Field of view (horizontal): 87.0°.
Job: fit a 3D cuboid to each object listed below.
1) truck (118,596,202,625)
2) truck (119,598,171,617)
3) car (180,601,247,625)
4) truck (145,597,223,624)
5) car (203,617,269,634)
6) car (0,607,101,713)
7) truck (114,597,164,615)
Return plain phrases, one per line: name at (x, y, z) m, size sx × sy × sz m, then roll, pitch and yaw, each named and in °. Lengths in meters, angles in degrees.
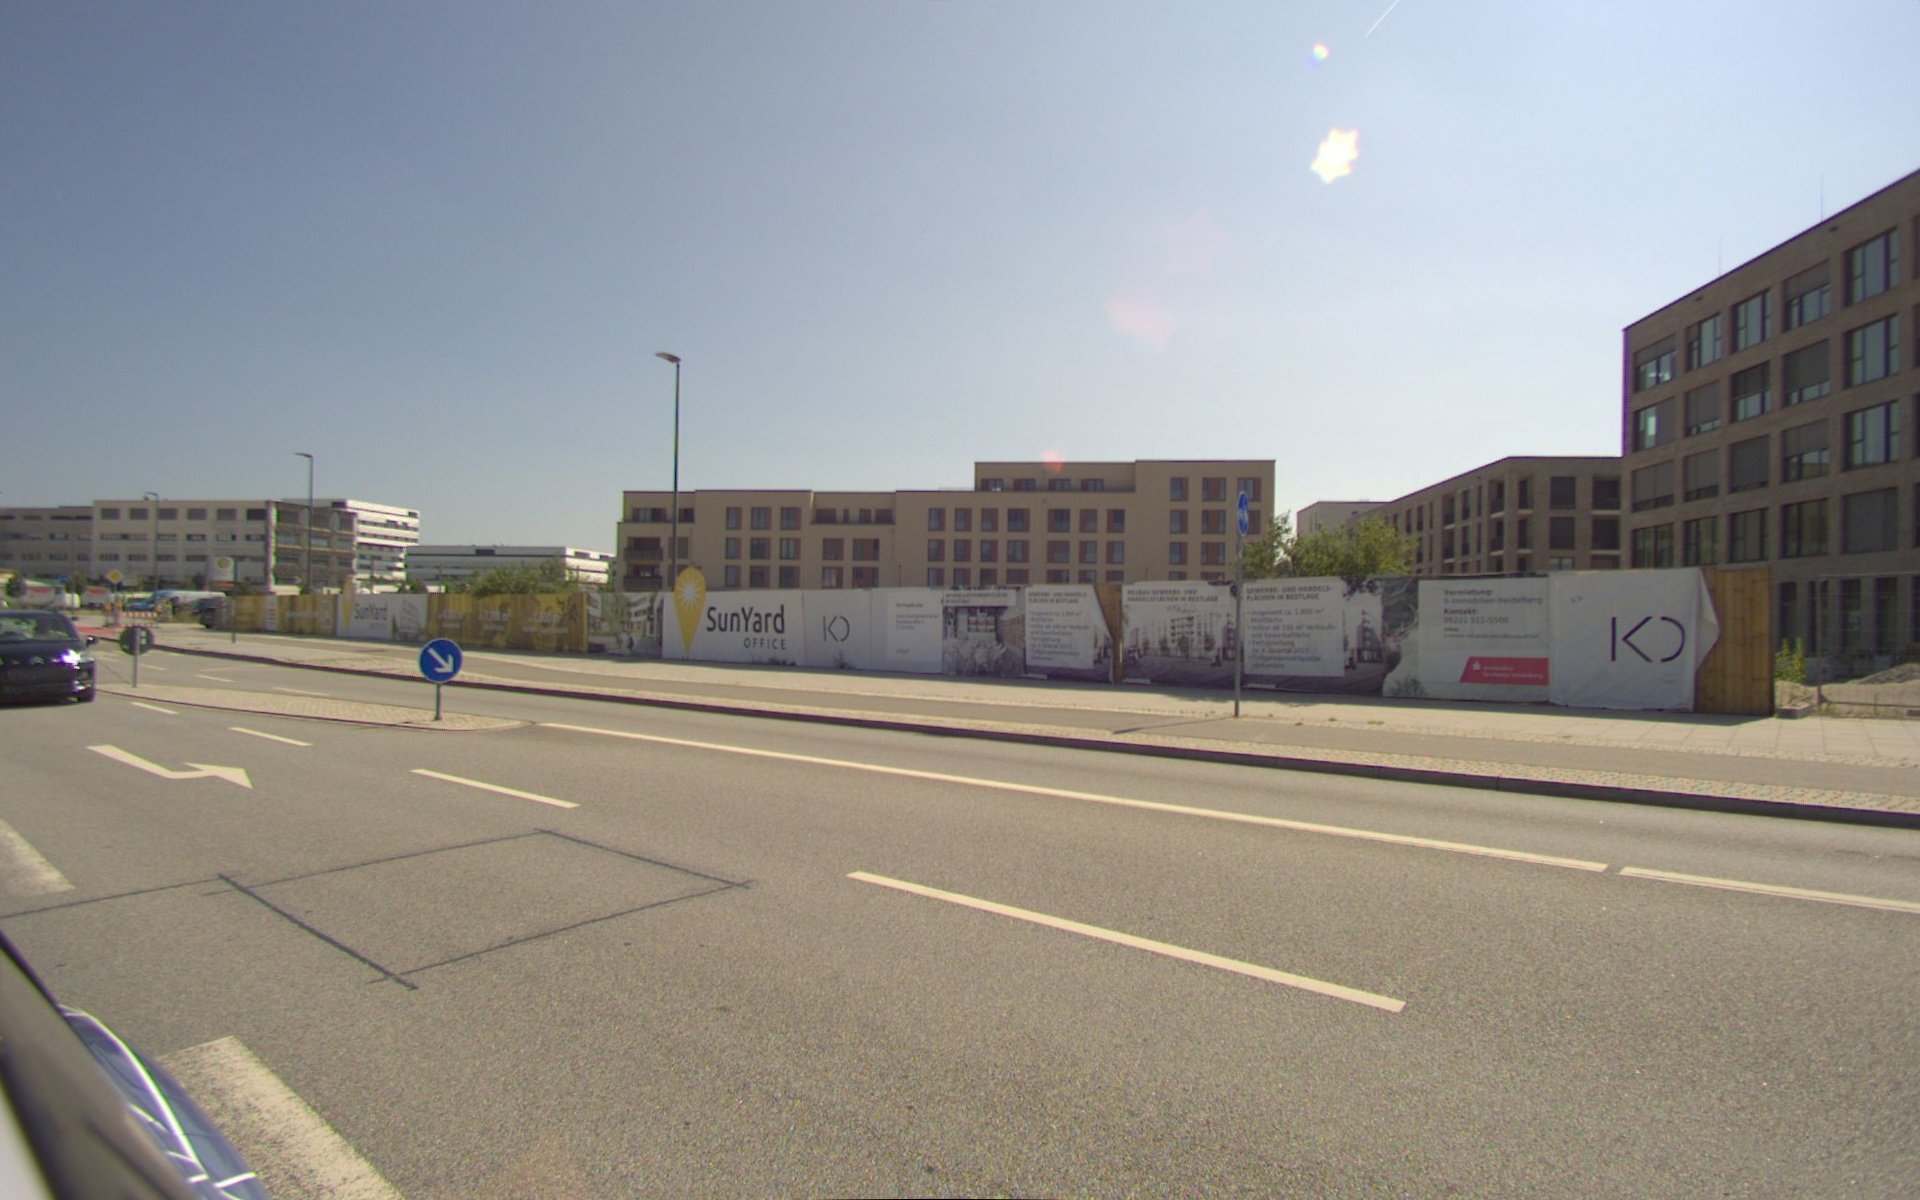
truck at (-71.944, 0.874, 91.090) m, size 1.996 × 2.494 × 5.567 m, roll -1°, pitch 0°, yaw 36°
truck at (-113.516, 1.048, 141.035) m, size 1.996 × 2.494 × 5.270 m, roll -1°, pitch 0°, yaw 36°
car at (-59.115, 1.012, 80.135) m, size 1.888 × 1.731 × 3.884 m, roll -1°, pitch 0°, yaw 35°
truck at (-66.188, 0.876, 86.364) m, size 1.998 × 2.245 × 4.942 m, roll -1°, pitch 0°, yaw 39°
car at (-46.931, 1.655, 65.636) m, size 1.293 × 0.960 × 3.315 m, roll 0°, pitch 0°, yaw 43°
car at (-16.373, 0.958, 17.446) m, size 3.914 × 1.634 × 1.785 m, roll 0°, pitch 1°, yaw 41°
truck at (-119.060, 0.877, 146.883) m, size 1.998 × 2.494 × 5.346 m, roll -1°, pitch 0°, yaw 38°
